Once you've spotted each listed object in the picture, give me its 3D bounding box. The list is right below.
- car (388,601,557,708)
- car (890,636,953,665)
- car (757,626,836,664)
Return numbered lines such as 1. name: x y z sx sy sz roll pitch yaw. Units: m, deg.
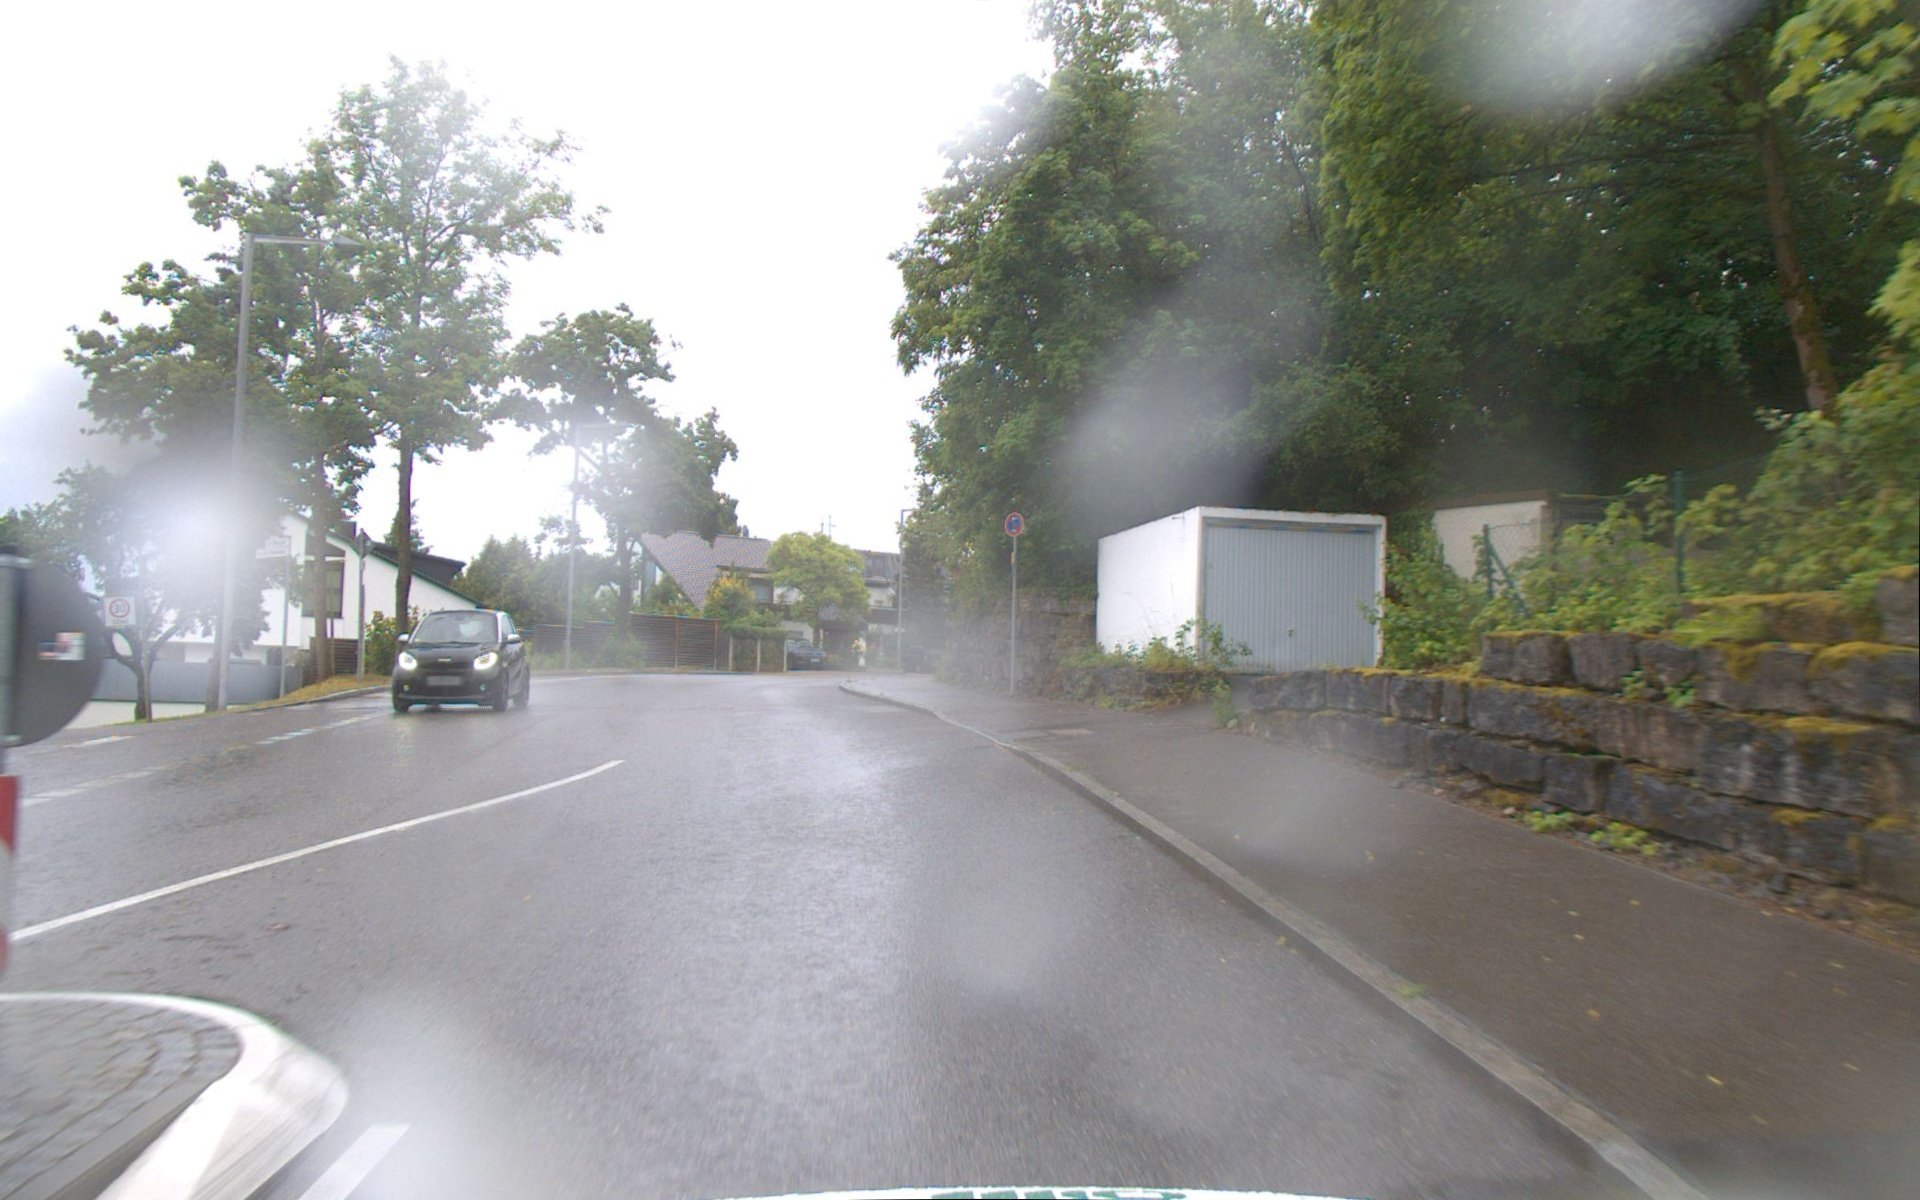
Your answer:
1. car: -7.764 0.839 26.753 1.796 1.547 4.620 -1 -1 -6
2. car: -2.119 2.769 90.576 1.911 1.413 3.965 5 -2 -27
3. car: -8.189 2.230 82.618 1.995 1.660 3.942 5 -2 -40
